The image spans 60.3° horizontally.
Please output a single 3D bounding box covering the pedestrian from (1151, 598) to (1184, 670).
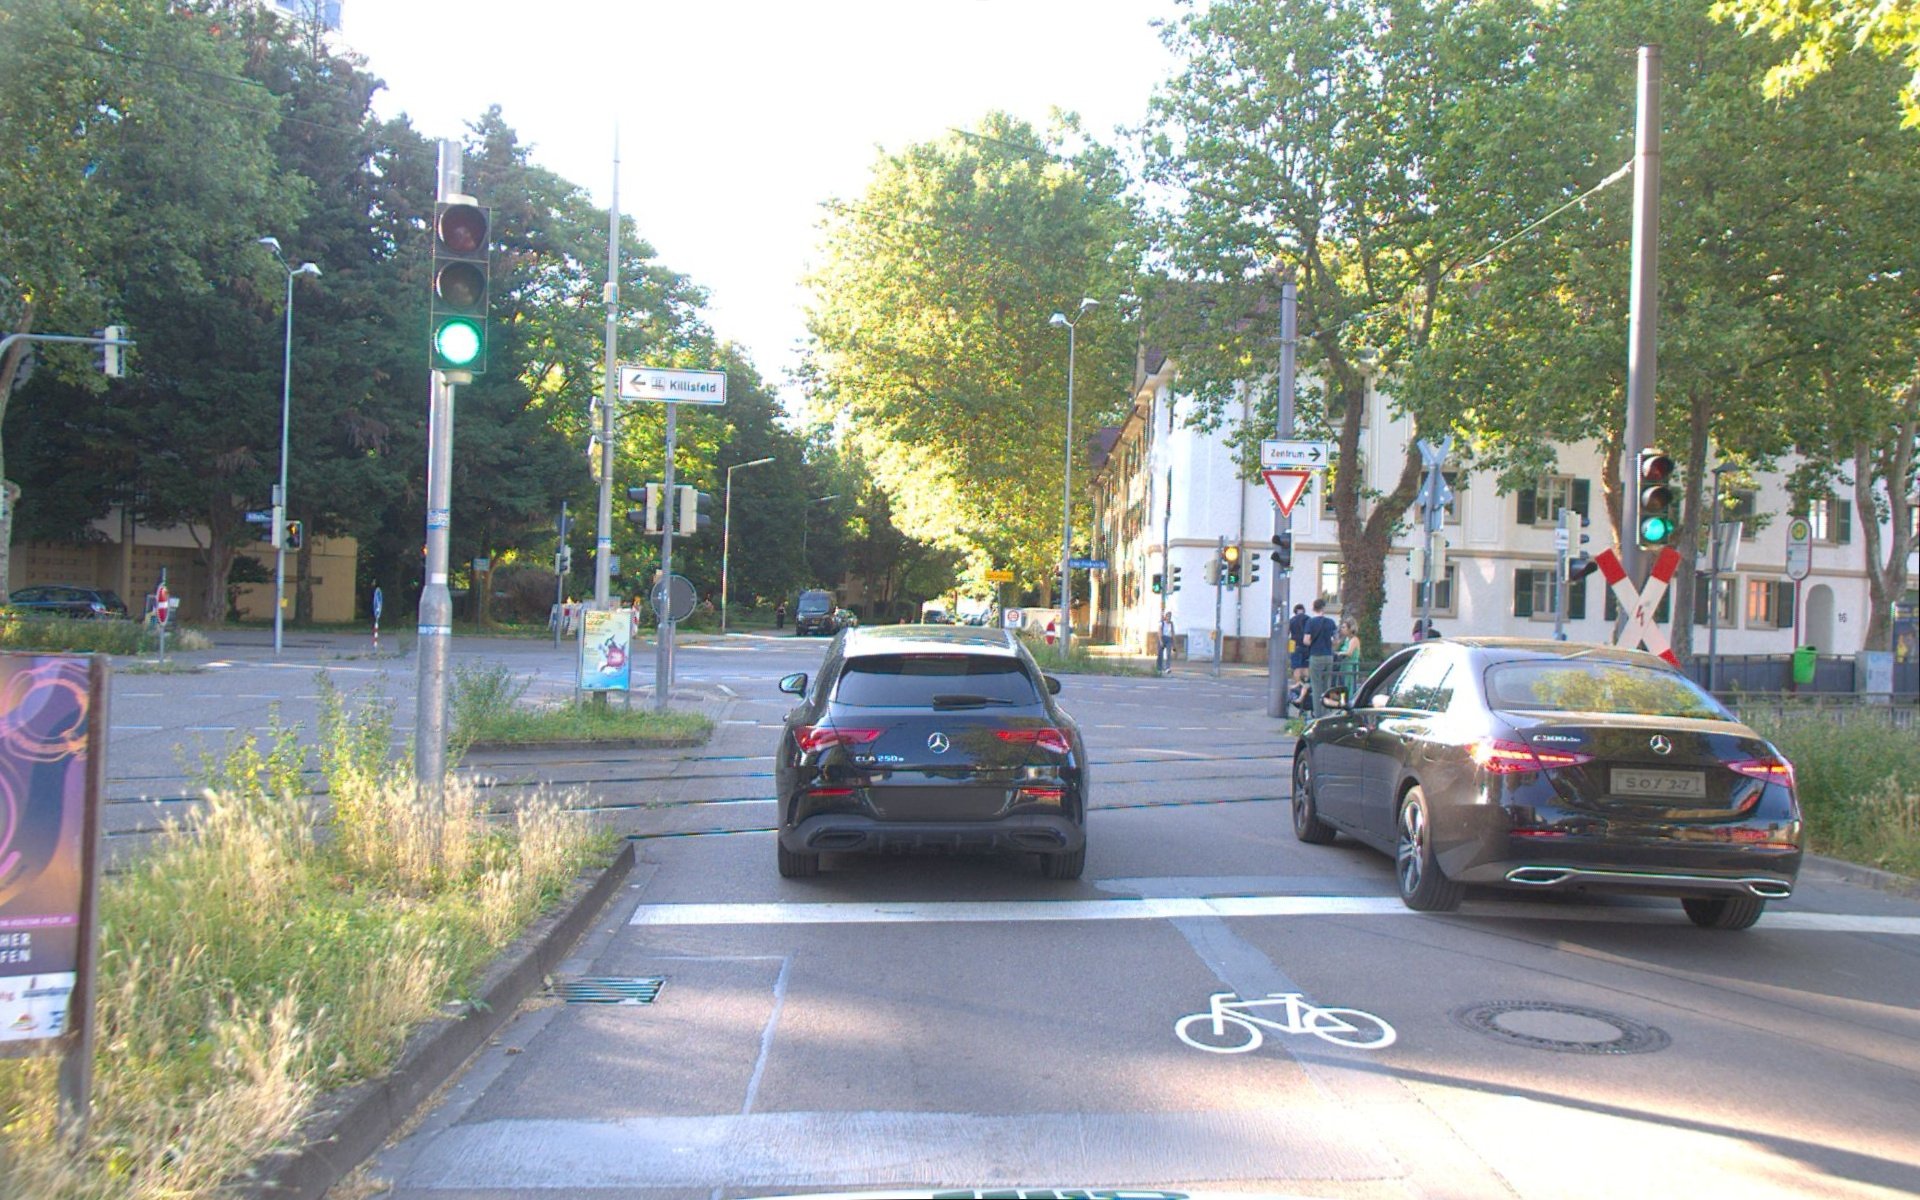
[{"bbox_3d":[5.775,0.956,45.992,0.691,1.951,0.838,2,-1,-4],"label":"pedestrian"}]

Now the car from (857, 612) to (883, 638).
[{"bbox_3d":[-6.605,1.817,121.667,1.698,1.796,3.970,2,-1,-1],"label":"car"}]

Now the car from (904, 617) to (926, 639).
[{"bbox_3d":[-3.790,2.363,140.477,1.698,1.796,4.018,2,-1,-1],"label":"car"}]

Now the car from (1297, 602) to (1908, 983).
[{"bbox_3d":[3.325,0.869,9.610,1.851,1.516,4.382,3,1,1],"label":"car"}]

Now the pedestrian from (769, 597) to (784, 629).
[{"bbox_3d":[-11.305,0.791,101.989,0.690,1.951,0.839,2,-1,5],"label":"pedestrian"}]

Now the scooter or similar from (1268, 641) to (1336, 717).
[{"bbox_3d":[5.351,1.228,25.913,0.812,1.124,0.808,3,-1,-6],"label":"scooter or similar"}]

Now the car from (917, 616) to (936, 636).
[{"bbox_3d":[-3.110,2.441,153.750,1.698,1.796,4.018,2,-1,-1],"label":"car"}]

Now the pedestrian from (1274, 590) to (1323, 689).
[{"bbox_3d":[6.832,0.793,33.422,0.691,1.951,0.838,3,-1,-6],"label":"pedestrian"}]

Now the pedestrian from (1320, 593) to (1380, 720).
[{"bbox_3d":[6.153,0.881,26.109,0.669,1.951,0.706,2,-1,-4],"label":"pedestrian"}]

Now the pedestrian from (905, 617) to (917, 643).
[{"bbox_3d":[-3.698,2.245,125.302,0.692,1.951,0.837,3,-1,-10],"label":"pedestrian"}]

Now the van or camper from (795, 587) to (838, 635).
[{"bbox_3d":[-8.228,0.672,95.003,1.953,2.586,4.650,2,-1,0],"label":"van or camper"}]

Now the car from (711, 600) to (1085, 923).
[{"bbox_3d":[-0.287,0.825,10.458,1.851,1.475,4.001,3,1,1],"label":"car"}]

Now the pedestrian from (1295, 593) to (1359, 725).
[{"bbox_3d":[5.552,0.887,25.048,0.692,1.951,0.683,3,-1,-9],"label":"pedestrian"}]

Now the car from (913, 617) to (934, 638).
[{"bbox_3d":[-3.198,2.426,145.664,1.698,1.796,4.018,2,-1,-1],"label":"car"}]

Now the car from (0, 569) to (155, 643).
[{"bbox_3d":[-24.043,0.171,44.315,3.902,1.805,2.001,2,-1,7],"label":"car"}]
